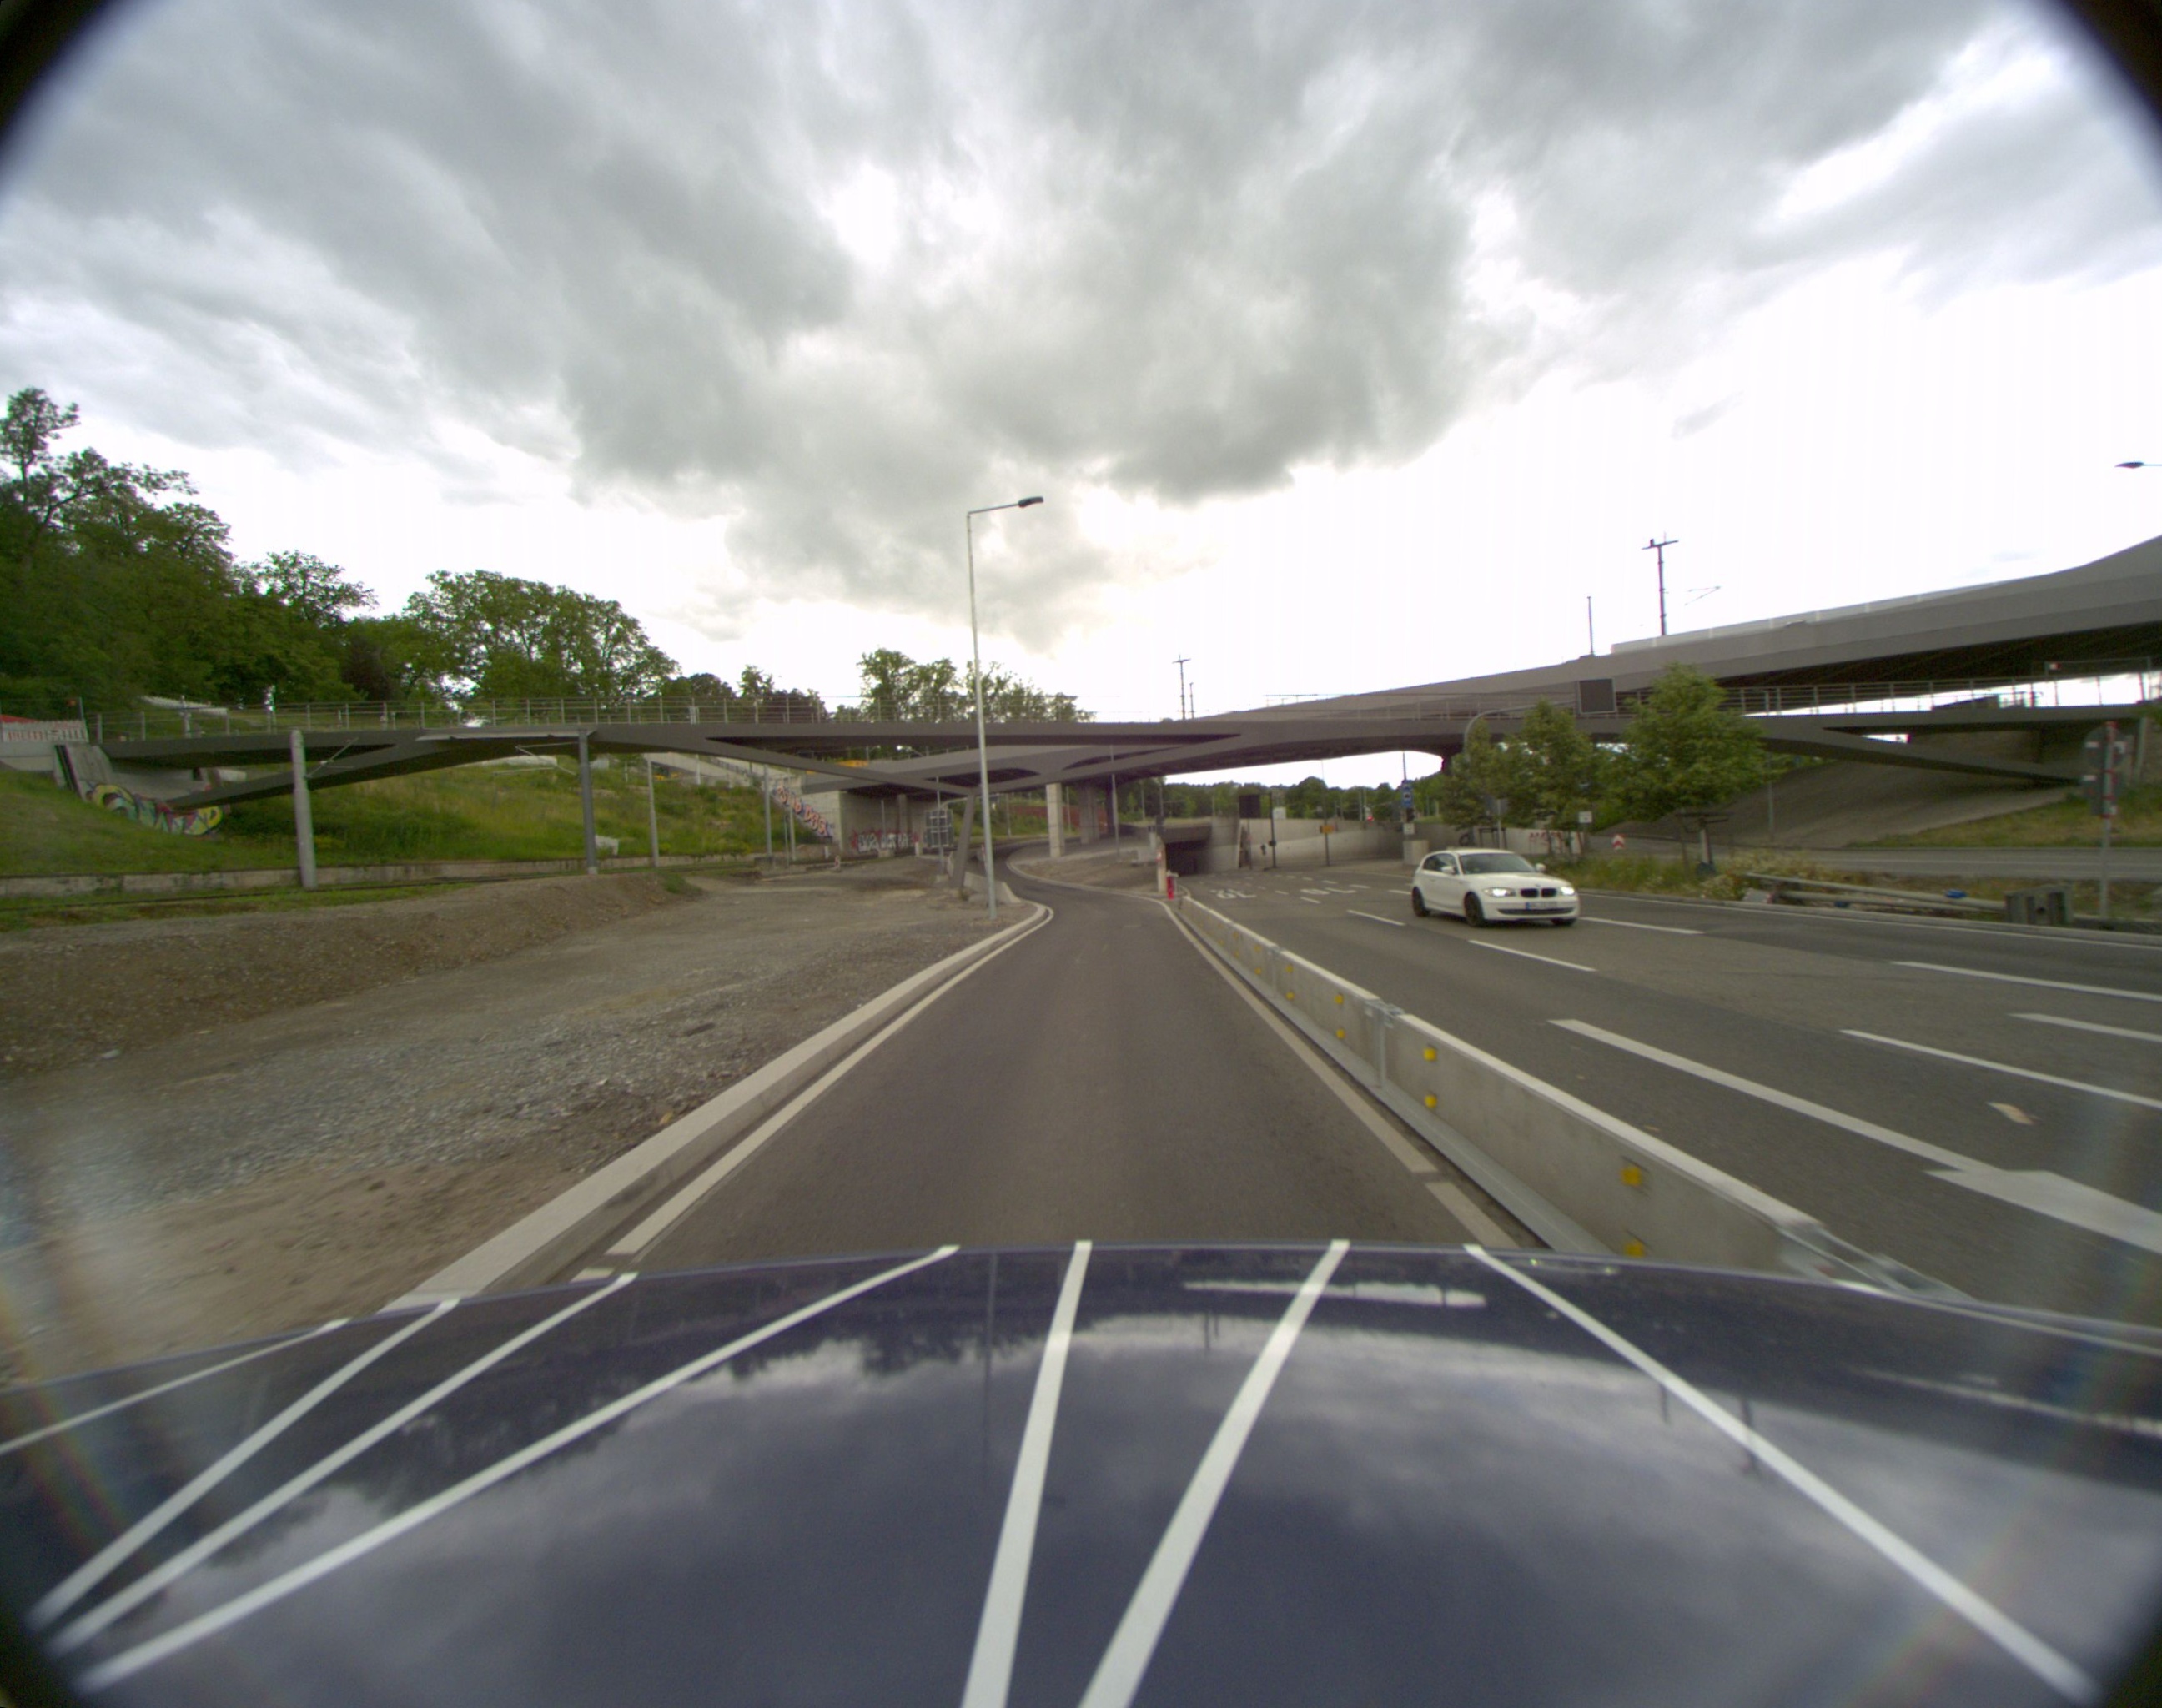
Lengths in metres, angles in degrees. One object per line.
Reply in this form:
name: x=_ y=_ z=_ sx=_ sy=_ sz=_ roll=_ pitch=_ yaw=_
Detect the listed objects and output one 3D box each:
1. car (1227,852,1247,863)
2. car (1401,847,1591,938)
car: x=22.865 y=0.506 z=111.354 sx=1.793 sy=1.469 sz=4.614 roll=-3 pitch=0 yaw=-2
car: x=7.856 y=0.640 z=14.833 sx=1.642 sy=1.425 sz=3.982 roll=-3 pitch=1 yaw=3
